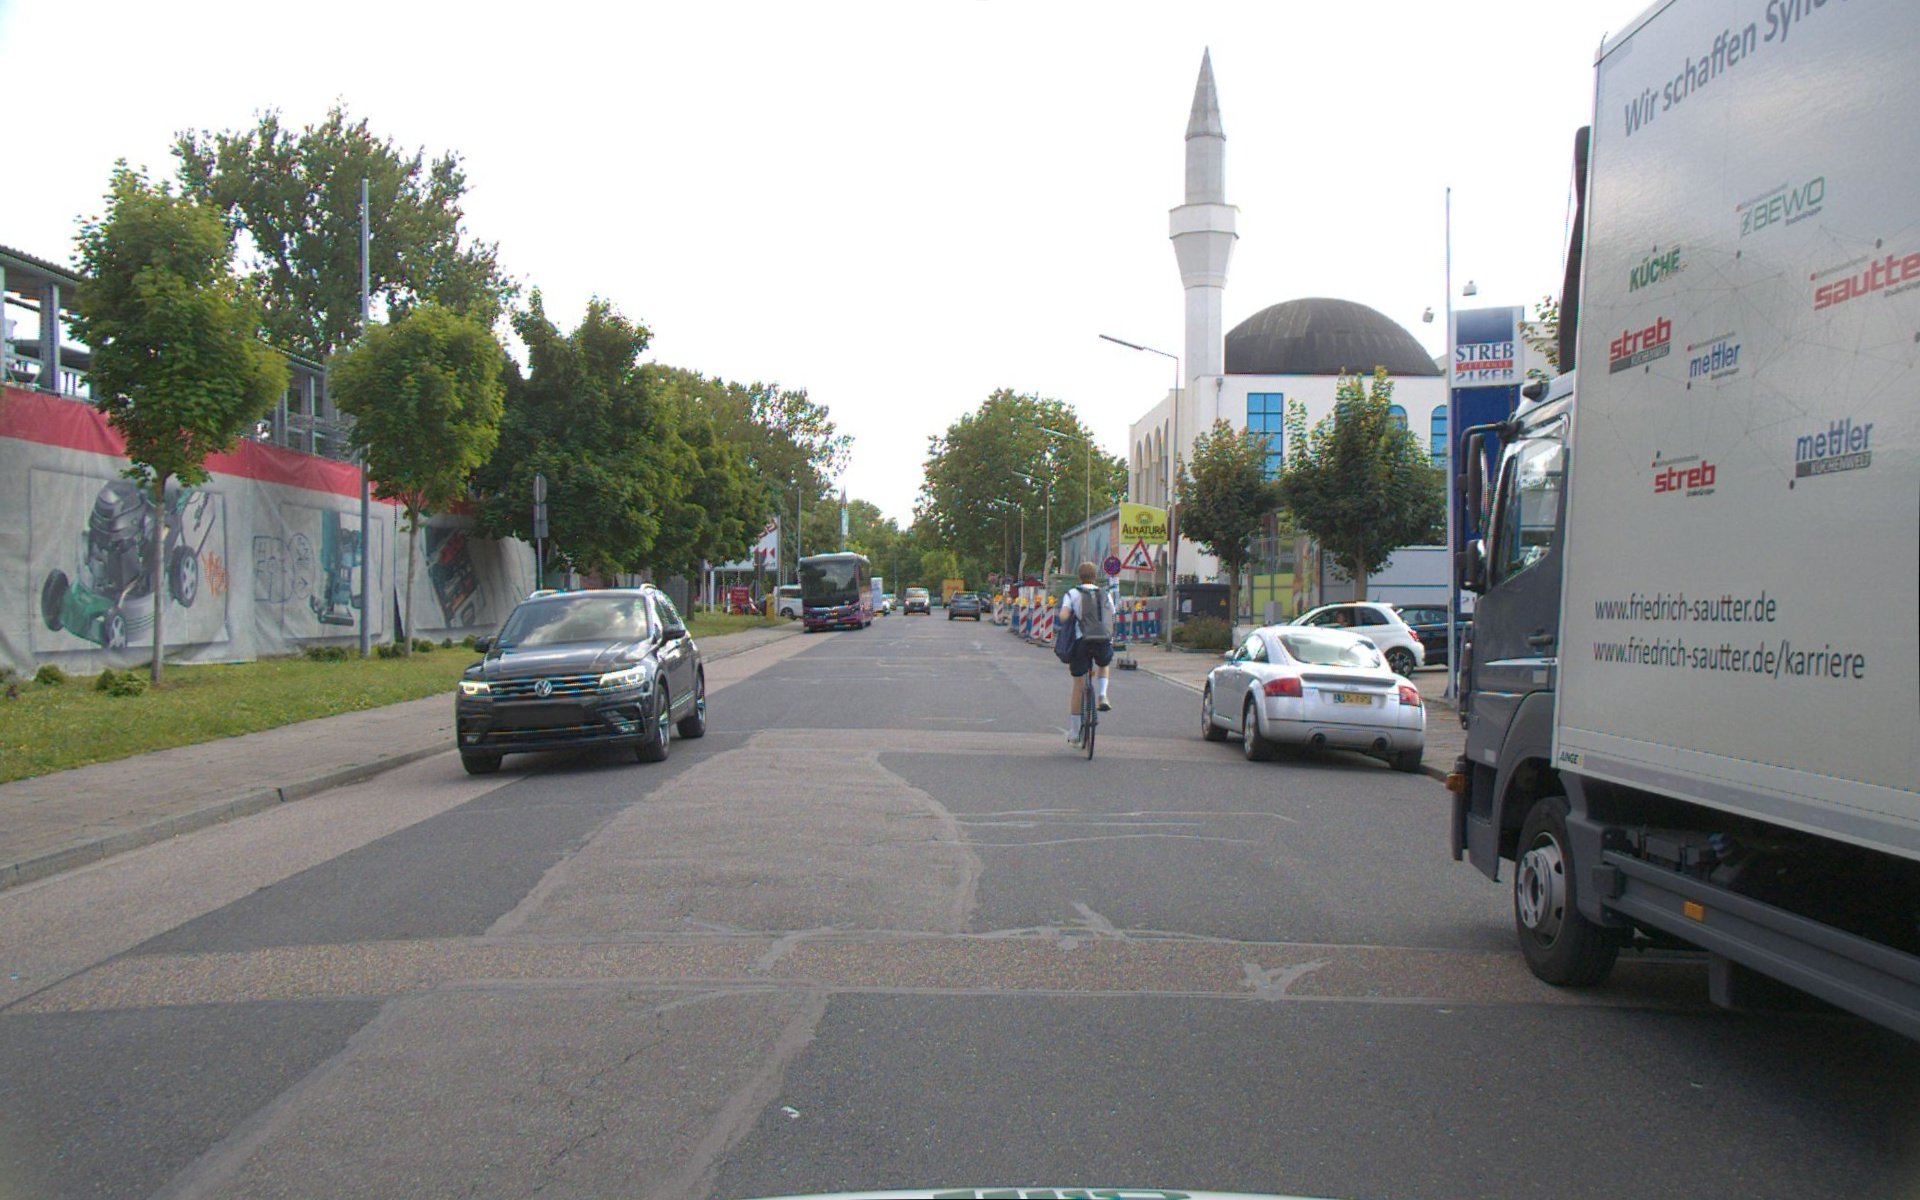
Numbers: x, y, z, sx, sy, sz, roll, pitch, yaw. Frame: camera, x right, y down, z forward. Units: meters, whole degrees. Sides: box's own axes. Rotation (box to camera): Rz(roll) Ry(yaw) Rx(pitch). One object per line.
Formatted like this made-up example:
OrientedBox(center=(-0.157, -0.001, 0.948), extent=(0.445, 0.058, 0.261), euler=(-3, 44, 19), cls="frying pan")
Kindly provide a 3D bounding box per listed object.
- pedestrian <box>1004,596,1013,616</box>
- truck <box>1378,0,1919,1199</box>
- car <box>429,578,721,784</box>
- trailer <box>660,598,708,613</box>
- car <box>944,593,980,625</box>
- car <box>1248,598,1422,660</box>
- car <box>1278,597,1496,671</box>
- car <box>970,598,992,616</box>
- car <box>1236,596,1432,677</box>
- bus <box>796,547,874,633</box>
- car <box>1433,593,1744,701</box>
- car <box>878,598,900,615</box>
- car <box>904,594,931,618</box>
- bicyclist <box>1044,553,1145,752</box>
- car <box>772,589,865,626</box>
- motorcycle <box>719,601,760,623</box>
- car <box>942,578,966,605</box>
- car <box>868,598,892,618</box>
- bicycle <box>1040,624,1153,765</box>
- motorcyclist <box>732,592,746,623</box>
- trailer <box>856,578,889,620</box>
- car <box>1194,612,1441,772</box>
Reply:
OrientedBox(center=(3.773, 0.466, 128.030), extent=(0.667, 1.560, 1.130), euler=(1, -1, -1), cls="pedestrian")
OrientedBox(center=(3.628, -0.541, 4.285), extent=(2.722, 4.188, 8.277), euler=(3, 0, -1), cls="truck")
OrientedBox(center=(-3.609, 0.682, 16.335), extent=(1.836, 1.648, 4.293), euler=(-4, 0, -1), cls="car")
OrientedBox(center=(-24.005, 0.492, 143.862), extent=(3.736, 1.211, 1.716), euler=(0, 0, 5), cls="trailer")
OrientedBox(center=(0.077, 0.508, 97.292), extent=(1.922, 1.847, 4.273), euler=(0, 0, -2), cls="car")
OrientedBox(center=(9.714, 0.736, 43.052), extent=(4.022, 1.489, 1.988), euler=(-1, 0, -4), cls="car")
OrientedBox(center=(8.976, 0.689, 34.963), extent=(4.097, 1.455, 1.805), euler=(-1, 0, -4), cls="car")
OrientedBox(center=(1.818, 0.613, 142.083), extent=(1.771, 1.415, 4.588), euler=(3, 0, 1), cls="car")
OrientedBox(center=(7.323, 0.700, 32.661), extent=(3.525, 1.495, 1.689), euler=(-1, 0, 3), cls="car")
OrientedBox(center=(-5.604, -0.422, 76.282), extent=(2.609, 3.482, 13.216), euler=(-3, 0, -1), cls="bus")
OrientedBox(center=(9.180, 0.658, 24.338), extent=(3.874, 1.435, 1.795), euler=(-1, 0, -4), cls="car")
OrientedBox(center=(-6.519, 0.602, 151.749), extent=(1.674, 1.445, 4.331), euler=(-2, 0, 1), cls="car")
OrientedBox(center=(-3.023, 0.395, 117.778), extent=(1.830, 1.658, 4.126), euler=(0, 0, -2), cls="car")
OrientedBox(center=(1.287, 0.496, 16.085), extent=(0.790, 1.824, 1.206), euler=(2, -1, -2), cls="bicyclist")
OrientedBox(center=(-7.876, 0.410, 92.603), extent=(4.895, 1.983, 1.993), euler=(1, 0, 5), cls="car")
OrientedBox(center=(-12.390, 0.677, 92.880), extent=(2.175, 1.235, 0.994), euler=(0, 0, 0), cls="motorcycle")
OrientedBox(center=(-0.631, -0.881, 169.813), extent=(2.155, 2.623, 6.400), euler=(0, 0, -3), cls="car")
OrientedBox(center=(-6.141, 0.601, 127.027), extent=(1.730, 1.505, 4.234), euler=(-2, 0, -2), cls="car")
OrientedBox(center=(1.281, 0.861, 16.029), extent=(0.782, 1.201, 2.626), euler=(2, 0, -1), cls="bicycle")
OrientedBox(center=(-12.423, 0.414, 92.879), extent=(0.660, 1.753, 0.994), euler=(0, 0, 0), cls="motorcyclist")
OrientedBox(center=(-6.138, -0.097, 116.269), extent=(2.096, 2.832, 4.702), euler=(-2, 0, -1), cls="trailer")
OrientedBox(center=(3.679, 0.891, 17.715), extent=(1.628, 1.363, 3.984), euler=(4, 0, -1), cls="car")
